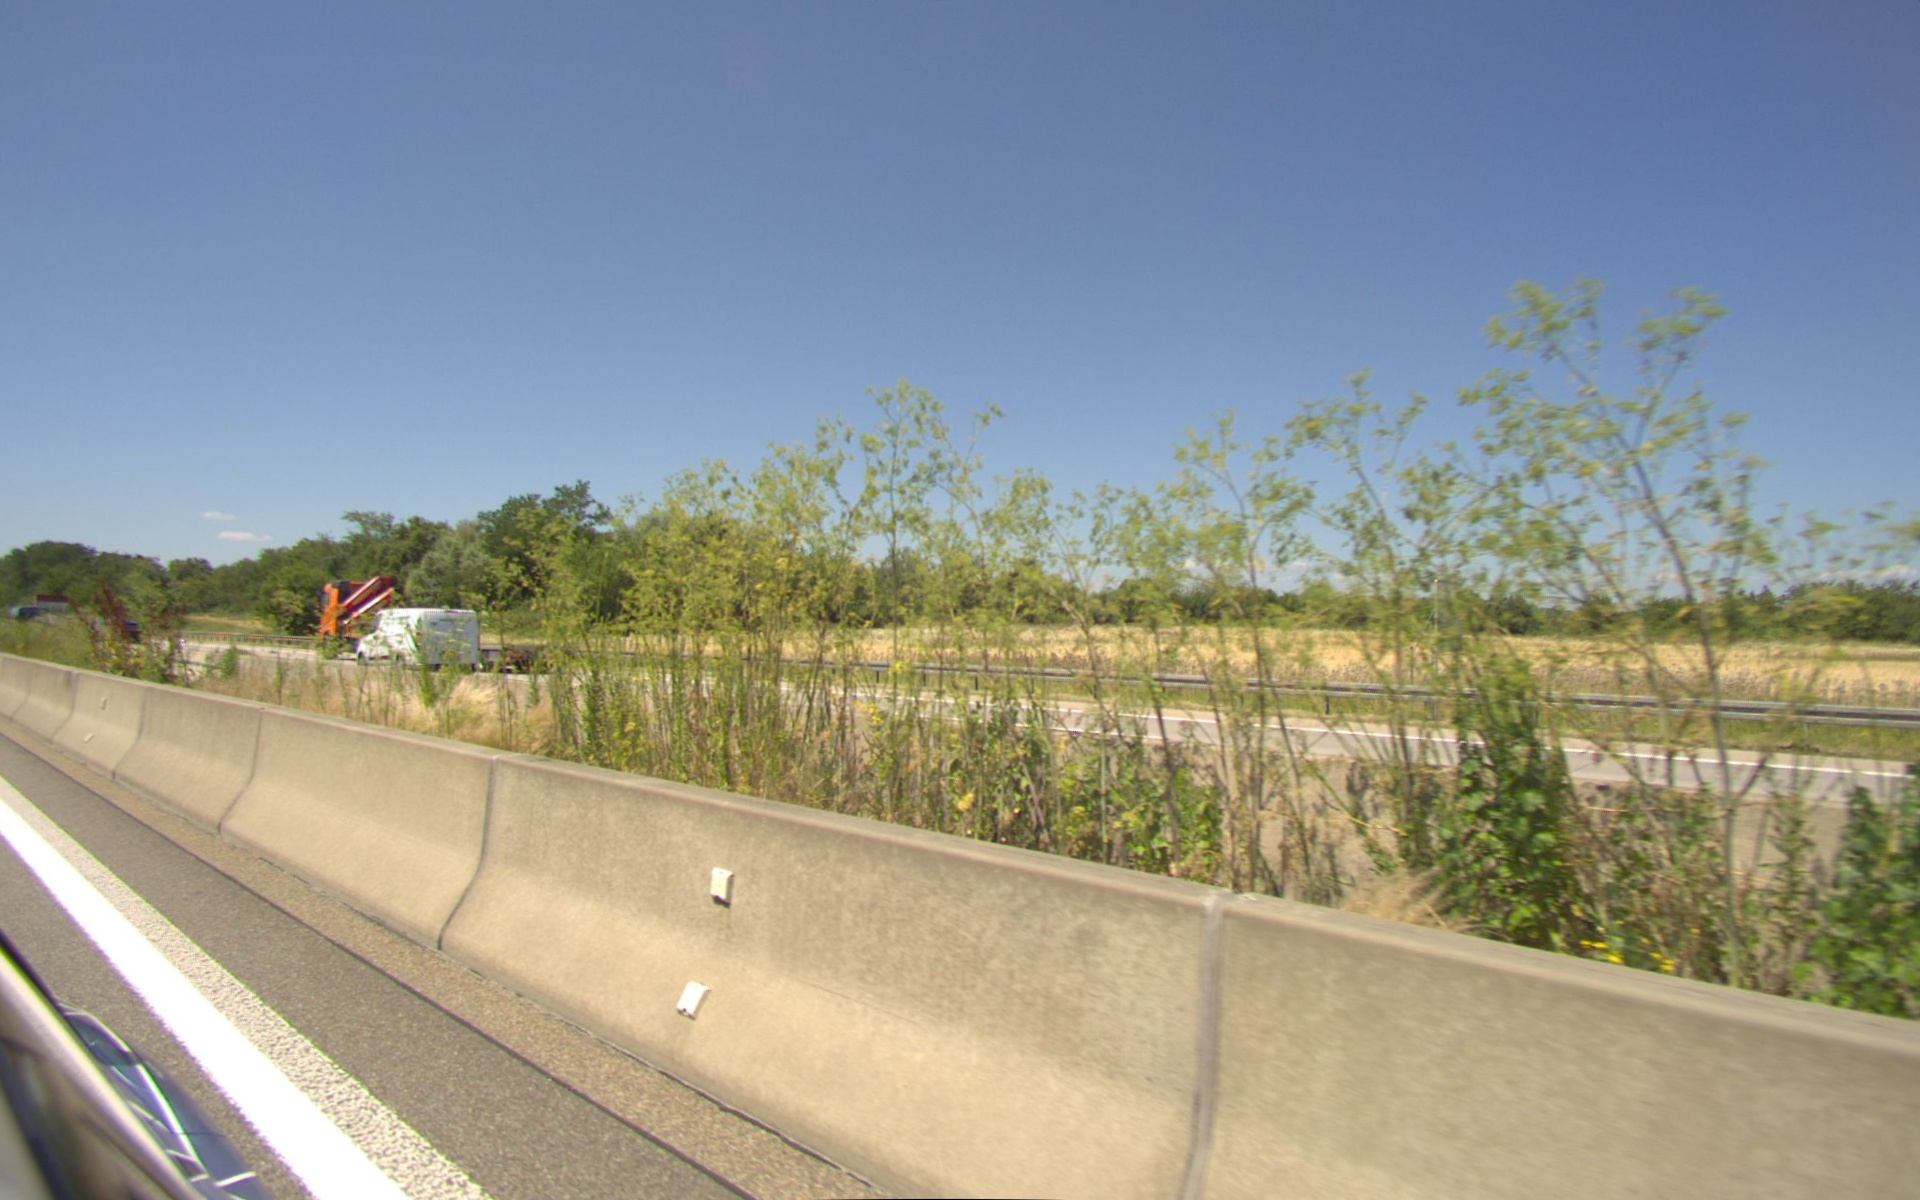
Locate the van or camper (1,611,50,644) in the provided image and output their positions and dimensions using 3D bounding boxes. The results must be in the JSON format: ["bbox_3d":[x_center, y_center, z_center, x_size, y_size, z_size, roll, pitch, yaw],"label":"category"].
[{"bbox_3d":[-77.818,2.305,84.241,5.869,2.608,2.148,-1,-4,40],"label":"van or camper"}]

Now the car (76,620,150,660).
[{"bbox_3d":[-35.235,1.647,42.081,3.816,1.591,1.748,-1,-3,41],"label":"car"}]

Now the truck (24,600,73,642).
[{"bbox_3d":[-91.887,2.106,102.014,5.747,4.045,2.732,-1,-4,41],"label":"truck"}]

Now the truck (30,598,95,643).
[{"bbox_3d":[-86.275,1.988,97.175,13.514,4.045,2.732,-1,-4,41],"label":"truck"}]

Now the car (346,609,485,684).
[{"bbox_3d":[-15.842,1.348,29.347,4.735,2.002,1.863,-1,-4,40],"label":"car"}]

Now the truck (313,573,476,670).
[{"bbox_3d":[-24.051,0.970,42.738,10.183,3.689,2.624,-1,-4,41],"label":"truck"}]

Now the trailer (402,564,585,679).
[{"bbox_3d":[-16.986,0.826,36.524,8.531,3.689,2.624,-1,-4,41],"label":"trailer"}]
